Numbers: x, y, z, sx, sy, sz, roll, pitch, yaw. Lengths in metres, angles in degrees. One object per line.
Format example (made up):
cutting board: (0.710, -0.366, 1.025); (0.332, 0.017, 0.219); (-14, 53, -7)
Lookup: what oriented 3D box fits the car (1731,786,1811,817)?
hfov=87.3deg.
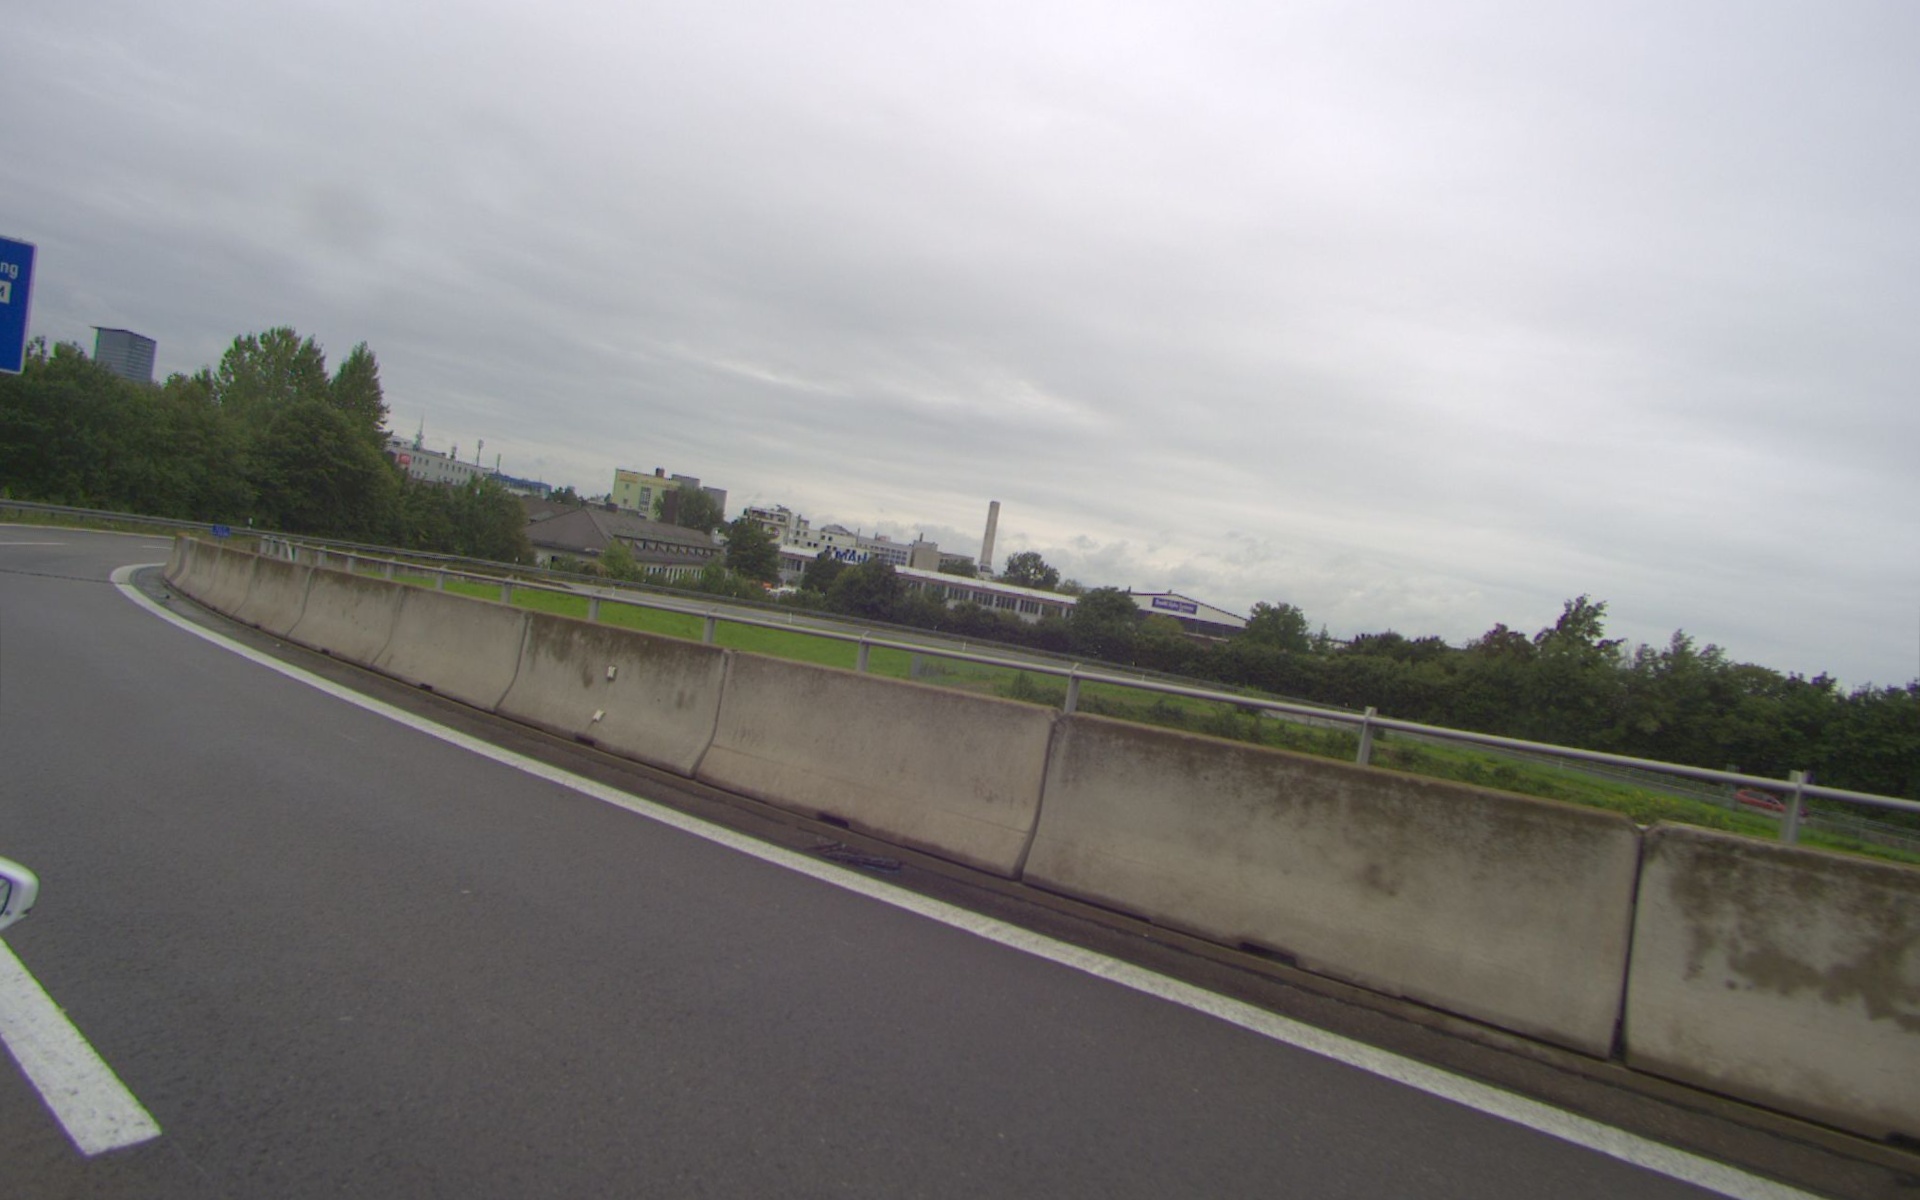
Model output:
car: (63.374, 15.741, 78.675); (1.699, 1.620, 4.491); (8, -4, -31)
